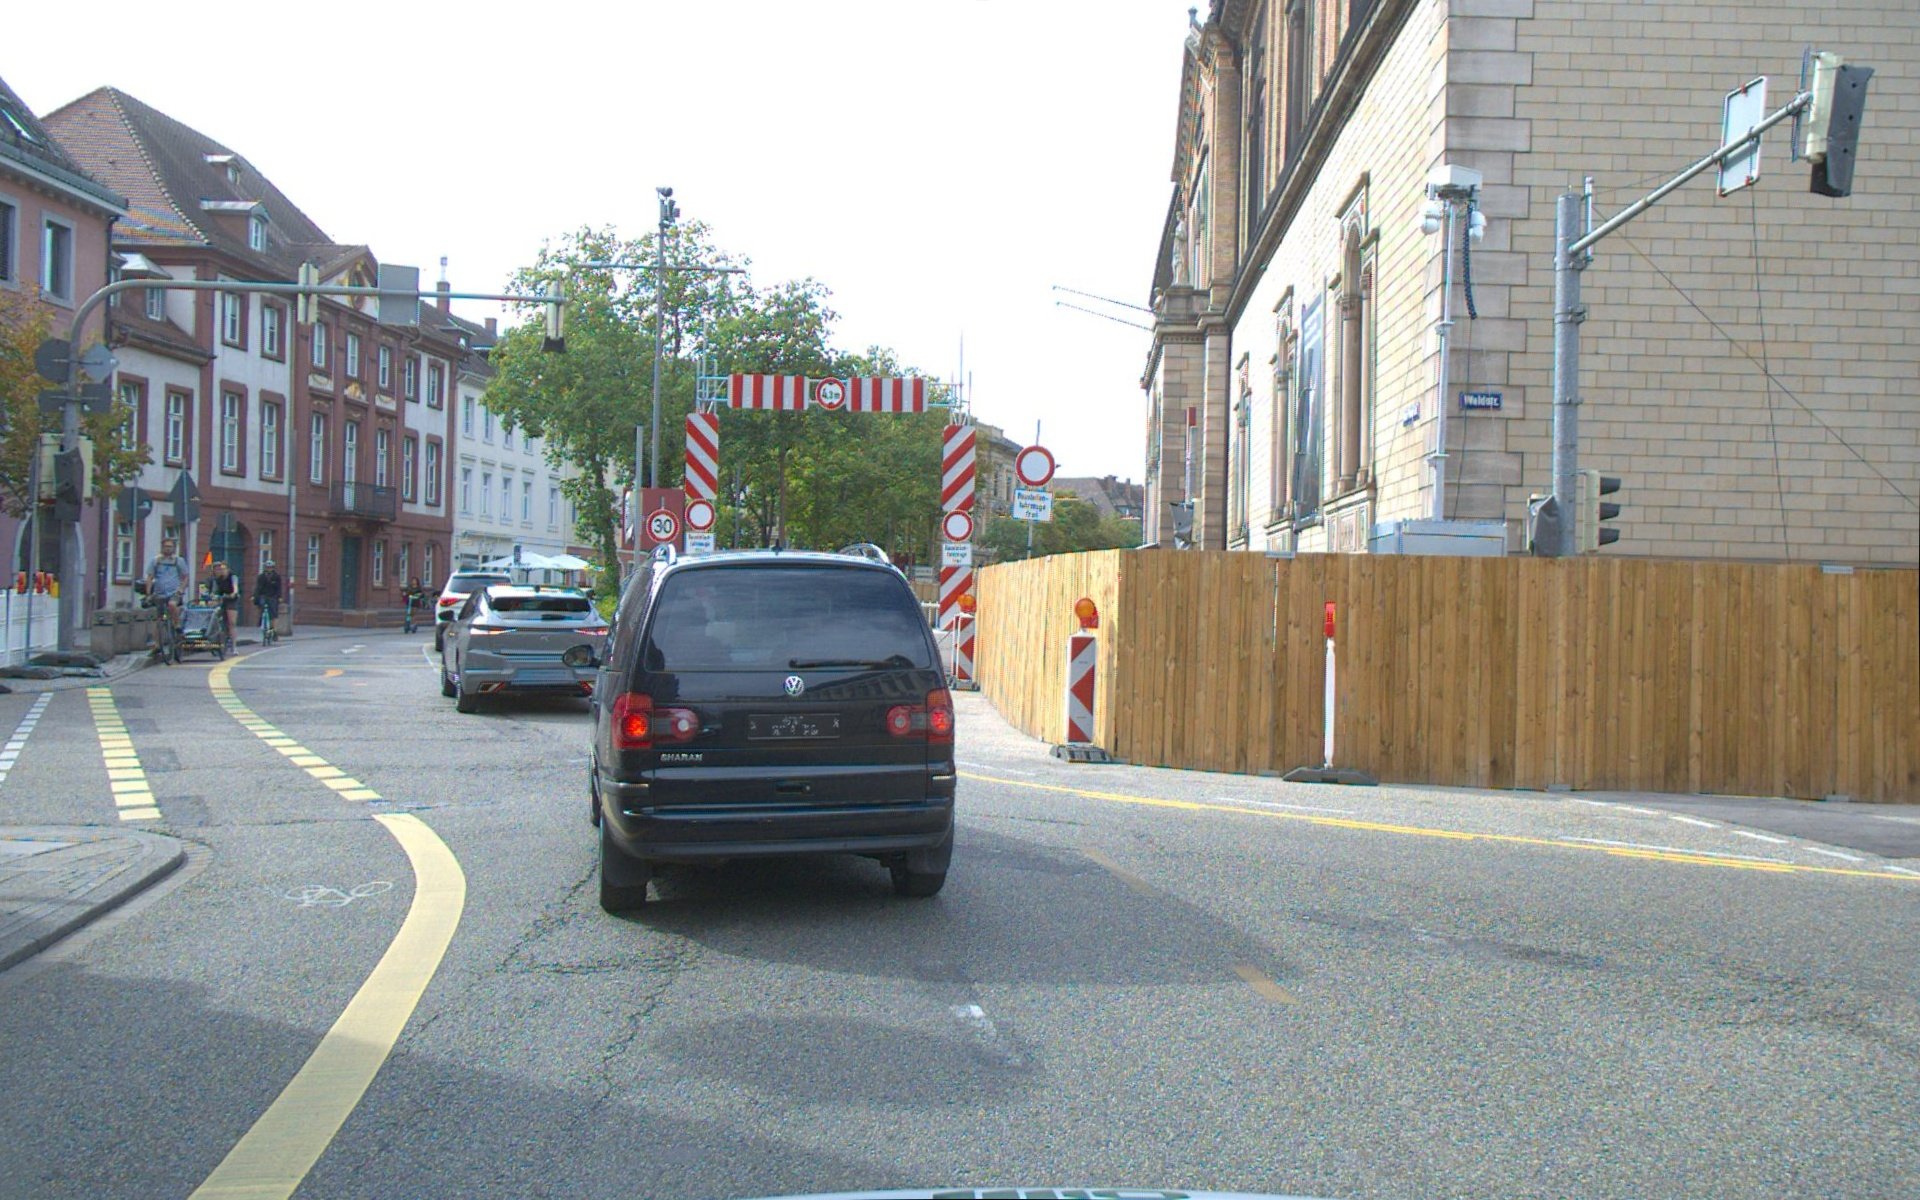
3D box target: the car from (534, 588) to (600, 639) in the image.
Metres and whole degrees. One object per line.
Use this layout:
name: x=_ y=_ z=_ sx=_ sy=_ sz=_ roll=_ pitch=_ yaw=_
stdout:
car: x=-13.116 y=0.435 z=55.417 sx=1.740 sy=1.613 sz=3.993 roll=1 pitch=0 yaw=-8

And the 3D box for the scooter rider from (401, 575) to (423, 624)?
scooter rider: x=-17.250 y=-0.025 z=52.093 sx=0.589 sy=1.516 sz=0.676 roll=1 pitch=-1 yaw=-16

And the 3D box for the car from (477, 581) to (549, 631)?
car: x=-12.804 y=0.179 z=47.512 sx=1.619 sy=1.344 sz=3.667 roll=1 pitch=0 yaw=-10

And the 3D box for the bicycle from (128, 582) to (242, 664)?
bicycle: x=-12.923 y=0.375 z=27.692 sx=1.037 sy=1.277 sz=3.031 roll=1 pitch=0 yaw=-12

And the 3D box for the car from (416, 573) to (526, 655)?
car: x=-10.388 y=0.290 z=34.977 sx=1.749 sy=1.613 sz=3.971 roll=1 pitch=0 yaw=-23

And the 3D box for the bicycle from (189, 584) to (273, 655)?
bicycle: x=-13.675 y=0.359 z=31.086 sx=0.910 sy=1.277 sz=2.533 roll=1 pitch=0 yaw=-12

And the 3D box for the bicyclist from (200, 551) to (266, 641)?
bicyclist: x=-13.674 y=-0.075 z=31.131 sx=0.910 sy=1.637 sz=1.060 roll=1 pitch=-1 yaw=-12

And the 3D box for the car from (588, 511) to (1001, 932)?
car: x=-1.156 y=0.548 z=9.352 sx=1.759 sy=1.821 sz=4.089 roll=2 pitch=0 yaw=-13

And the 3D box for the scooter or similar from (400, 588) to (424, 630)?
scooter or similar: x=-17.255 y=0.276 z=52.109 sx=0.589 sy=1.277 sz=1.546 roll=1 pitch=-1 yaw=-15

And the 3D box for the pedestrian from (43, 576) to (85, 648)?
pedestrian: x=-21.504 y=0.287 z=39.702 sx=0.651 sy=1.706 sz=0.697 roll=0 pitch=0 yaw=-3

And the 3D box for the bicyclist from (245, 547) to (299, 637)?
bicyclist: x=-15.562 y=-0.177 z=37.441 sx=0.910 sy=1.997 sz=1.102 roll=1 pitch=-1 yaw=-12

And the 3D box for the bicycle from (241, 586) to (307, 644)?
bicycle: x=-15.687 y=0.333 z=37.891 sx=0.910 sy=1.277 sz=2.533 roll=1 pitch=0 yaw=-12

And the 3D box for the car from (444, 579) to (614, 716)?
car: x=-5.371 y=0.530 z=20.270 sx=1.653 sy=1.495 sz=4.080 roll=2 pitch=0 yaw=-19

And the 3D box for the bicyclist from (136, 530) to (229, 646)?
bicyclist: x=-12.852 y=-0.187 z=27.388 sx=1.072 sy=1.856 sz=1.361 roll=1 pitch=-1 yaw=-12
